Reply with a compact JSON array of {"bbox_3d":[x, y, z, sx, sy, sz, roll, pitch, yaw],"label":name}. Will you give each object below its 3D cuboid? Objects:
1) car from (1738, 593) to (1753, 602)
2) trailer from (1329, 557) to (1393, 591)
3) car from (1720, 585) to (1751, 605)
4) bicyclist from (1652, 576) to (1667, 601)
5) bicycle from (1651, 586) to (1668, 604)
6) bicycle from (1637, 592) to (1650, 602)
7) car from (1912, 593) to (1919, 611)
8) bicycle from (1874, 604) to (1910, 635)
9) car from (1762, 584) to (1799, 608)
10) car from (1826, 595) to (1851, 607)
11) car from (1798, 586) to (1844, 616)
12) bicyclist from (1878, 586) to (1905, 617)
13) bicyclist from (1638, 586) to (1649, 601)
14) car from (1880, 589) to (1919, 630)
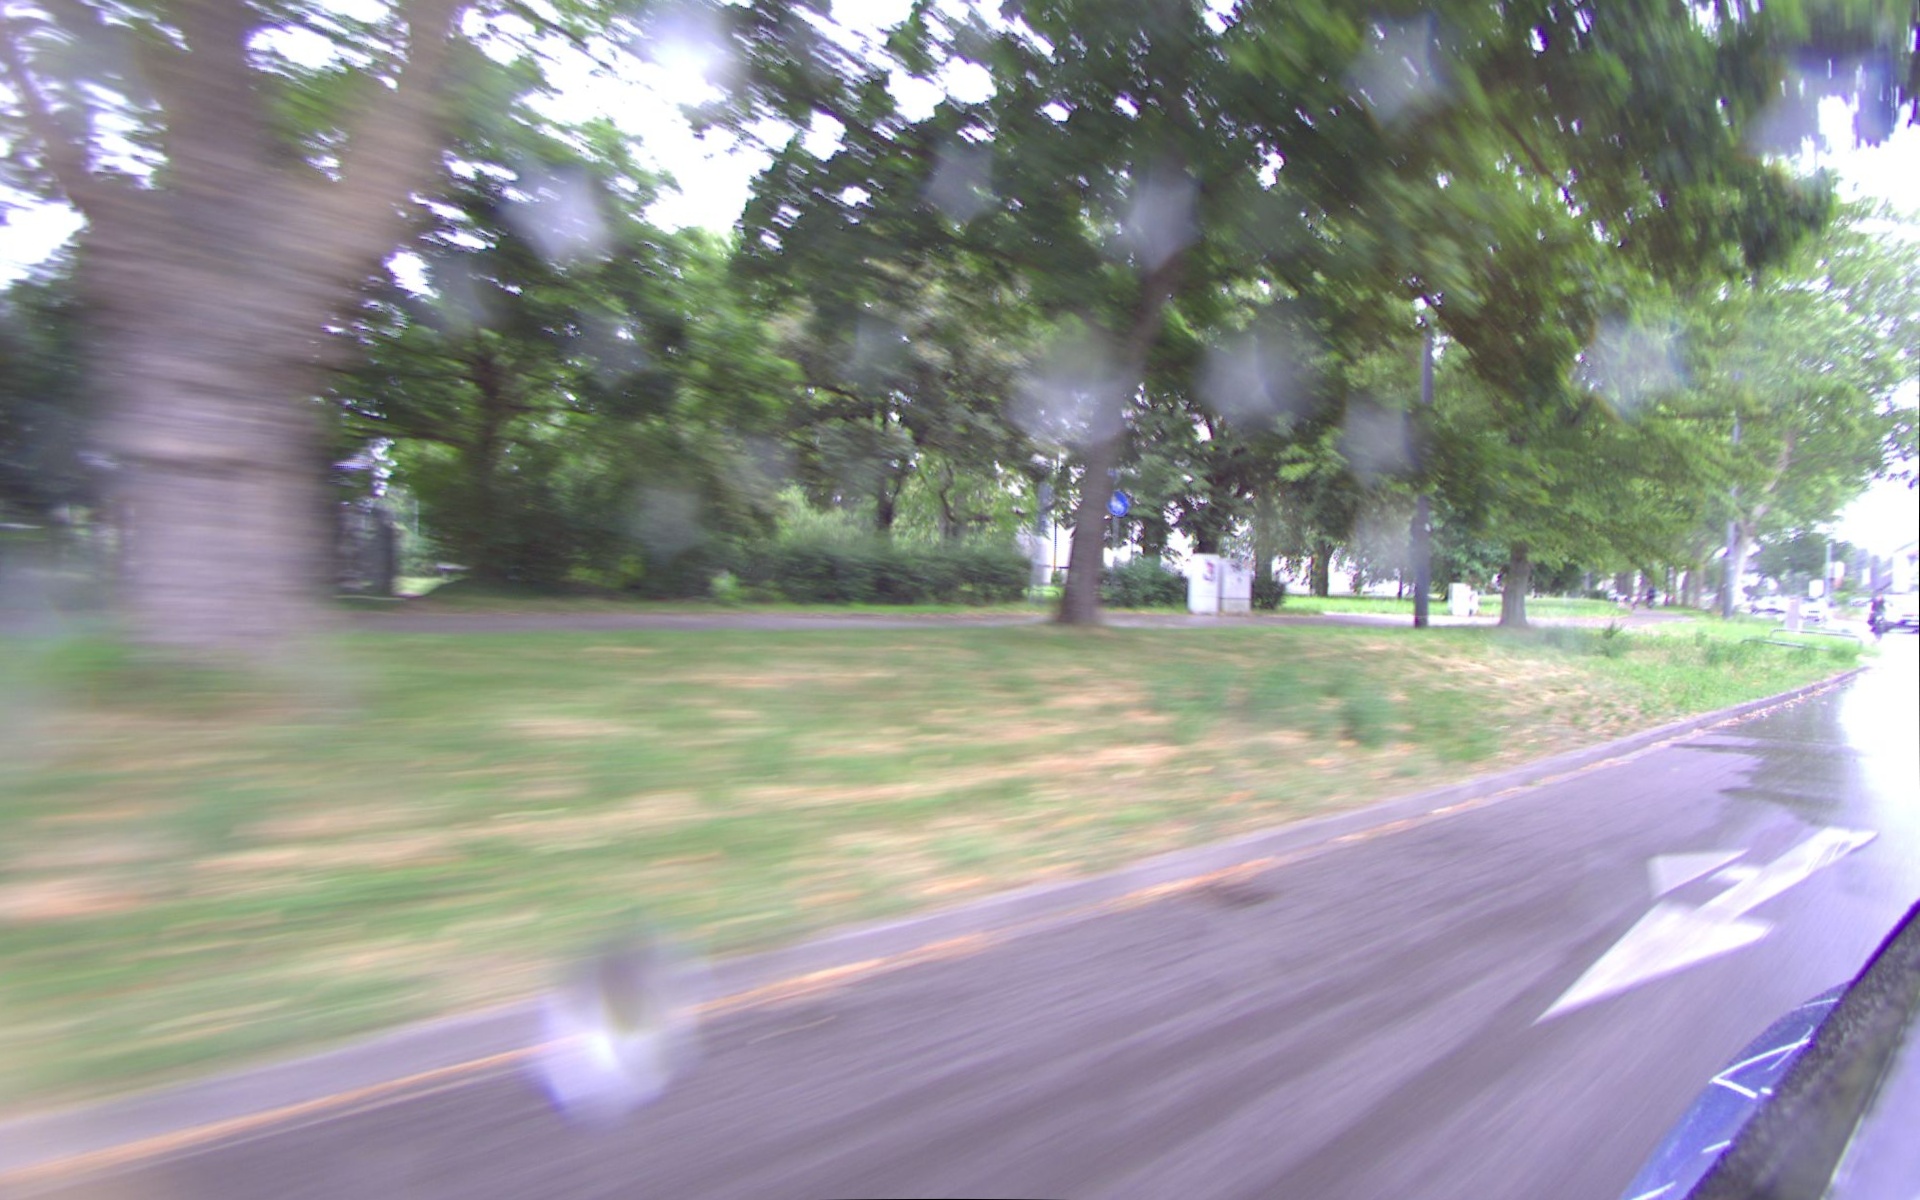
[{"bbox_3d":[140.858,-0.476,181.549,1.746,1.535,3.811,-1,0,32],"label":"car"},{"bbox_3d":[29.894,-1.941,75.488,3.939,2.337,1.895,2,1,-7],"label":"trailer"},{"bbox_3d":[73.657,-0.525,96.163,1.754,1.746,3.894,2,2,30],"label":"car"},{"bbox_3d":[48.754,-0.812,70.509,0.711,1.742,0.942,2,2,43],"label":"bicyclist"},{"bbox_3d":[48.749,-0.358,70.523,0.711,1.156,1.941,2,2,43],"label":"bicycle"},{"bbox_3d":[48.021,-0.208,71.118,0.487,0.717,1.435,3,2,43],"label":"bicycle"},{"bbox_3d":[93.867,0.224,97.809,1.835,1.727,4.138,1,1,30],"label":"car"},{"bbox_3d":[34.349,0.698,37.326,0.655,1.026,2.229,3,2,35],"label":"bicycle"},{"bbox_3d":[64.364,-0.341,79.431,1.756,1.746,3.889,3,2,33],"label":"car"},{"bbox_3d":[111.801,0.145,128.800,1.746,1.535,3.811,-1,0,32],"label":"car"},{"bbox_3d":[52.252,0.016,61.465,1.757,1.746,3.885,1,1,35],"label":"car"},{"bbox_3d":[34.400,0.063,37.360,0.618,1.098,0.616,3,2,36],"label":"bicyclist"},{"bbox_3d":[48.012,-0.483,71.092,0.487,1.051,0.582,3,2,43],"label":"bicyclist"},{"bbox_3d":[42.333,0.418,44.785,1.756,1.747,3.887,0,0,33],"label":"car"}]
